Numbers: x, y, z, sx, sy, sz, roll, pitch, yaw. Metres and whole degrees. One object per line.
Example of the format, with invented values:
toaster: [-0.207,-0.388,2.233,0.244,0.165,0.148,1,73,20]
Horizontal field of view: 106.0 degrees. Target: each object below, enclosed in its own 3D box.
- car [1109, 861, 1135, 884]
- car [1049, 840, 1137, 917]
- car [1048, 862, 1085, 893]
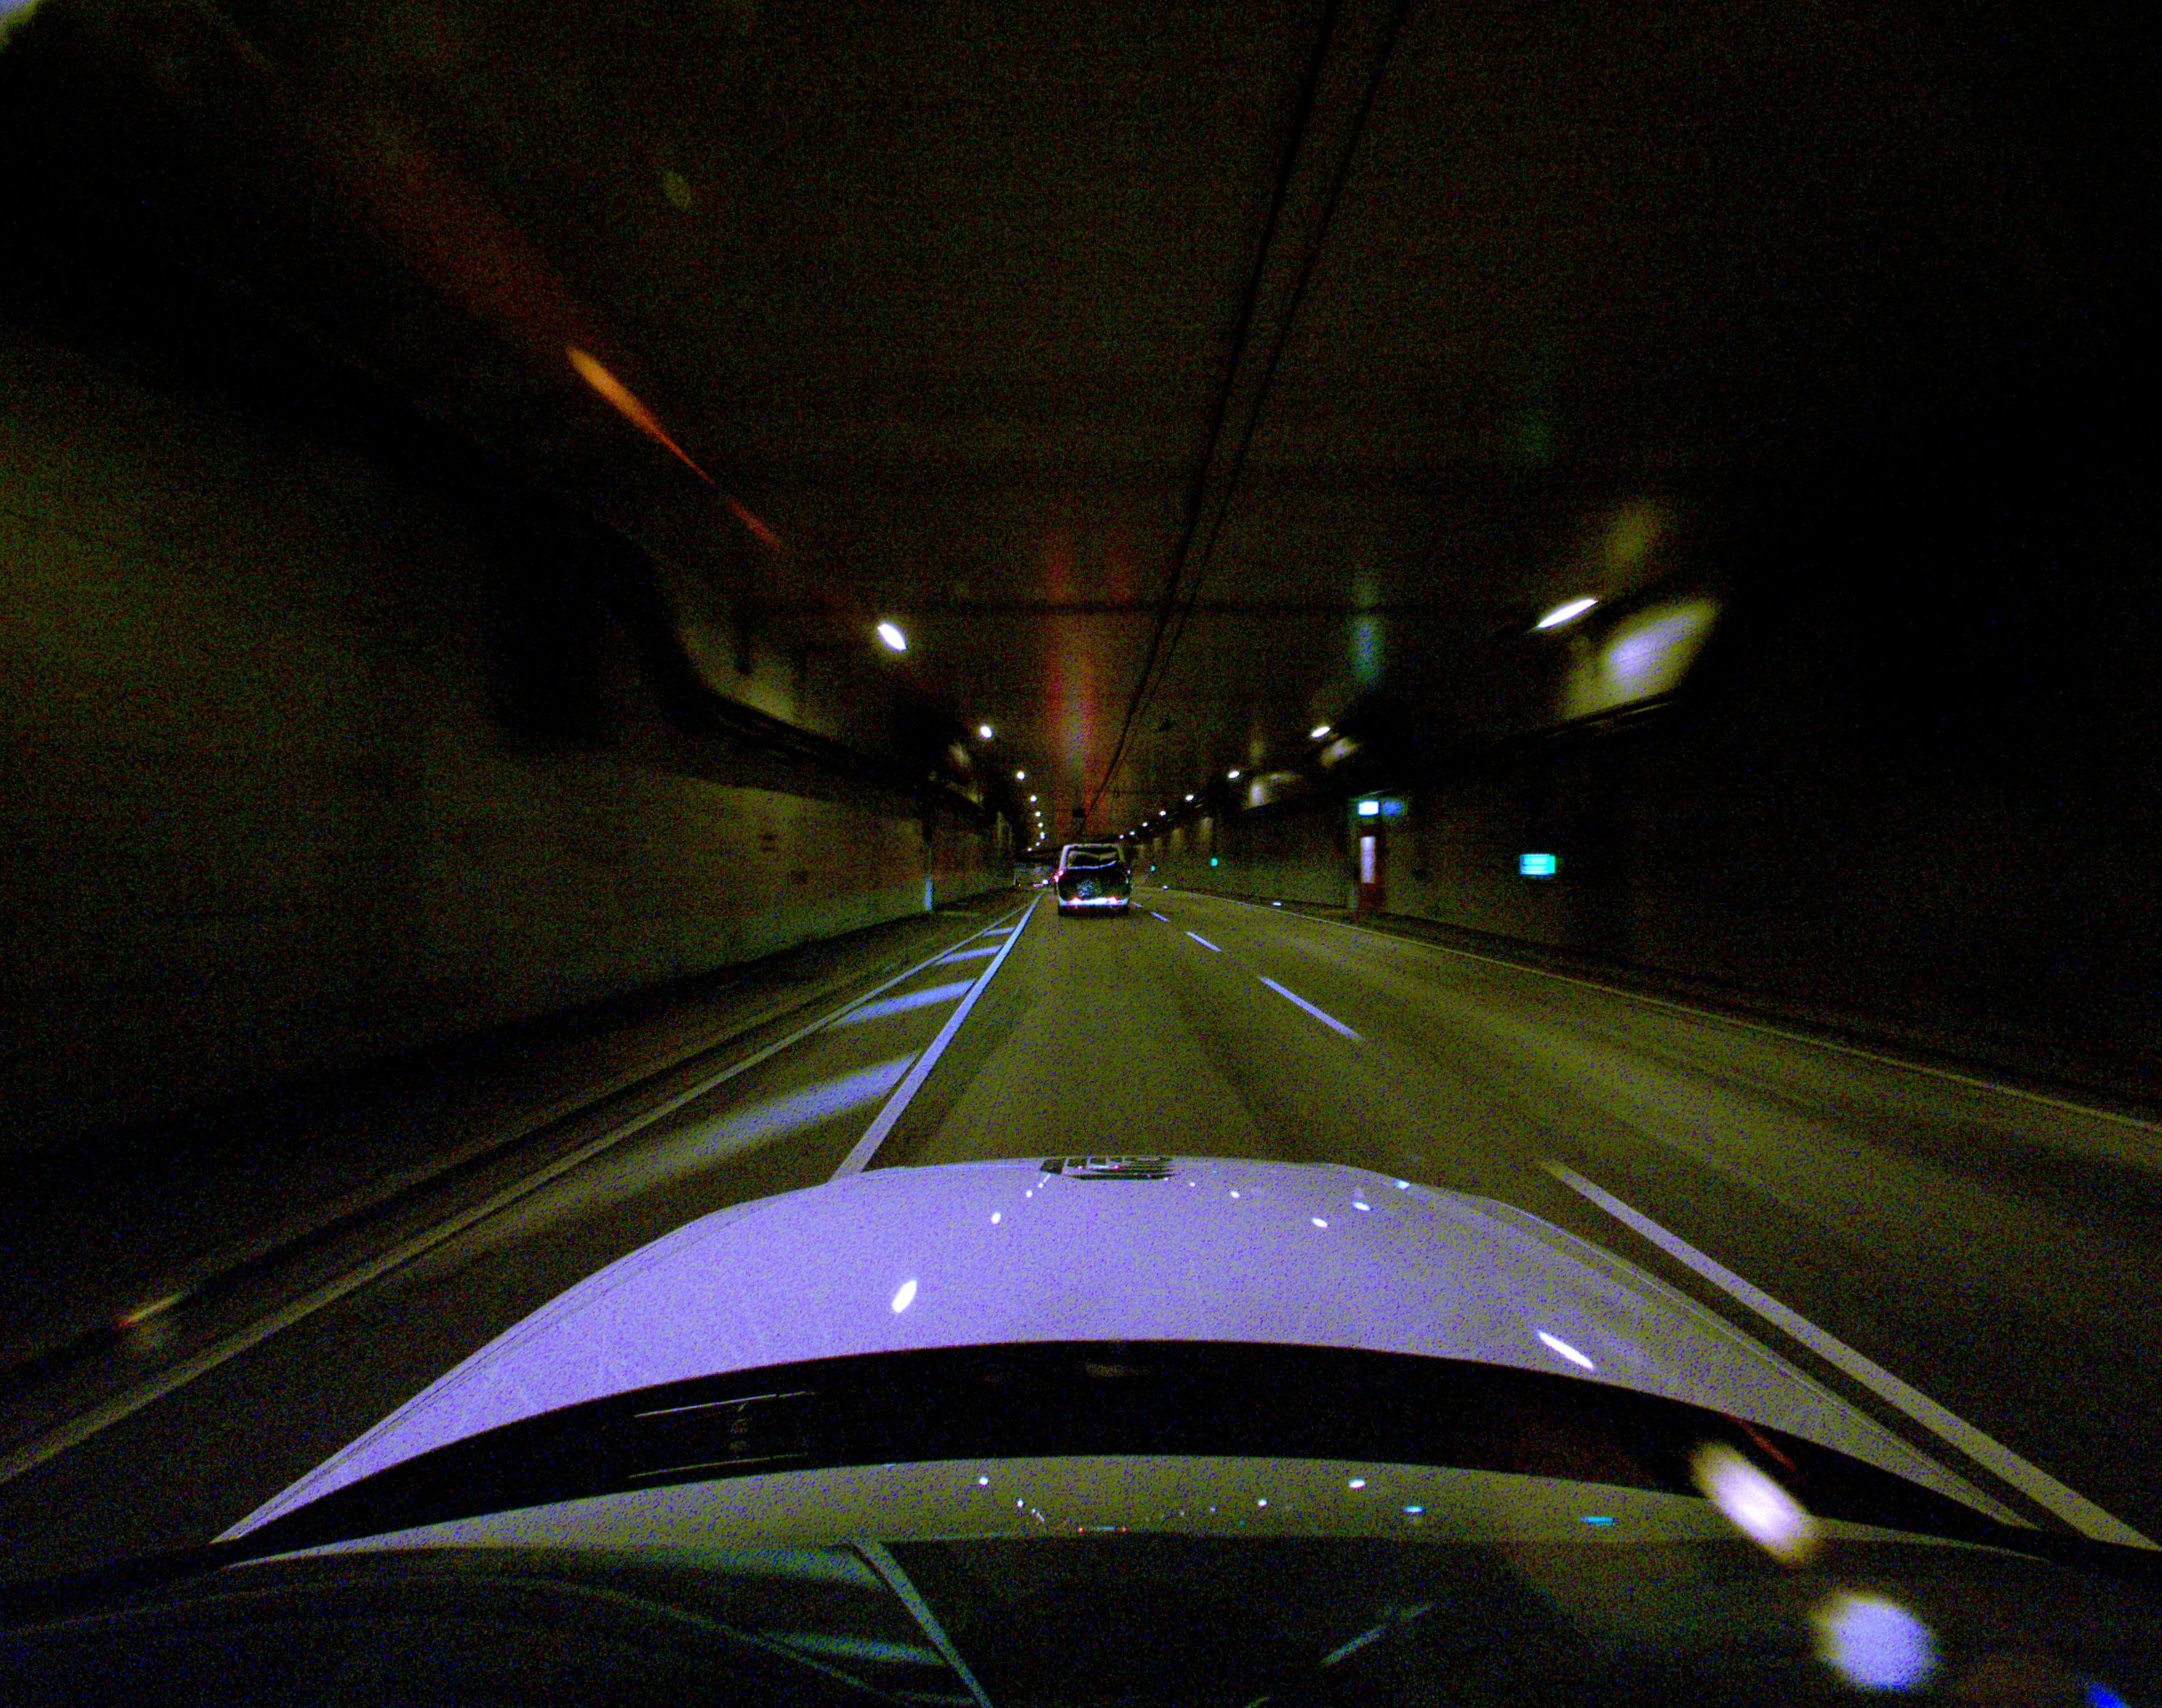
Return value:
car: [3.009,1.414,60.958,1.599,1.630,3.351,-1,-2,-3]
car: [0.193,0.616,22.386,1.990,1.847,5.293,0,0,-4]
car: [-0.715,1.076,37.890,1.599,1.395,3.273,0,-1,-3]
